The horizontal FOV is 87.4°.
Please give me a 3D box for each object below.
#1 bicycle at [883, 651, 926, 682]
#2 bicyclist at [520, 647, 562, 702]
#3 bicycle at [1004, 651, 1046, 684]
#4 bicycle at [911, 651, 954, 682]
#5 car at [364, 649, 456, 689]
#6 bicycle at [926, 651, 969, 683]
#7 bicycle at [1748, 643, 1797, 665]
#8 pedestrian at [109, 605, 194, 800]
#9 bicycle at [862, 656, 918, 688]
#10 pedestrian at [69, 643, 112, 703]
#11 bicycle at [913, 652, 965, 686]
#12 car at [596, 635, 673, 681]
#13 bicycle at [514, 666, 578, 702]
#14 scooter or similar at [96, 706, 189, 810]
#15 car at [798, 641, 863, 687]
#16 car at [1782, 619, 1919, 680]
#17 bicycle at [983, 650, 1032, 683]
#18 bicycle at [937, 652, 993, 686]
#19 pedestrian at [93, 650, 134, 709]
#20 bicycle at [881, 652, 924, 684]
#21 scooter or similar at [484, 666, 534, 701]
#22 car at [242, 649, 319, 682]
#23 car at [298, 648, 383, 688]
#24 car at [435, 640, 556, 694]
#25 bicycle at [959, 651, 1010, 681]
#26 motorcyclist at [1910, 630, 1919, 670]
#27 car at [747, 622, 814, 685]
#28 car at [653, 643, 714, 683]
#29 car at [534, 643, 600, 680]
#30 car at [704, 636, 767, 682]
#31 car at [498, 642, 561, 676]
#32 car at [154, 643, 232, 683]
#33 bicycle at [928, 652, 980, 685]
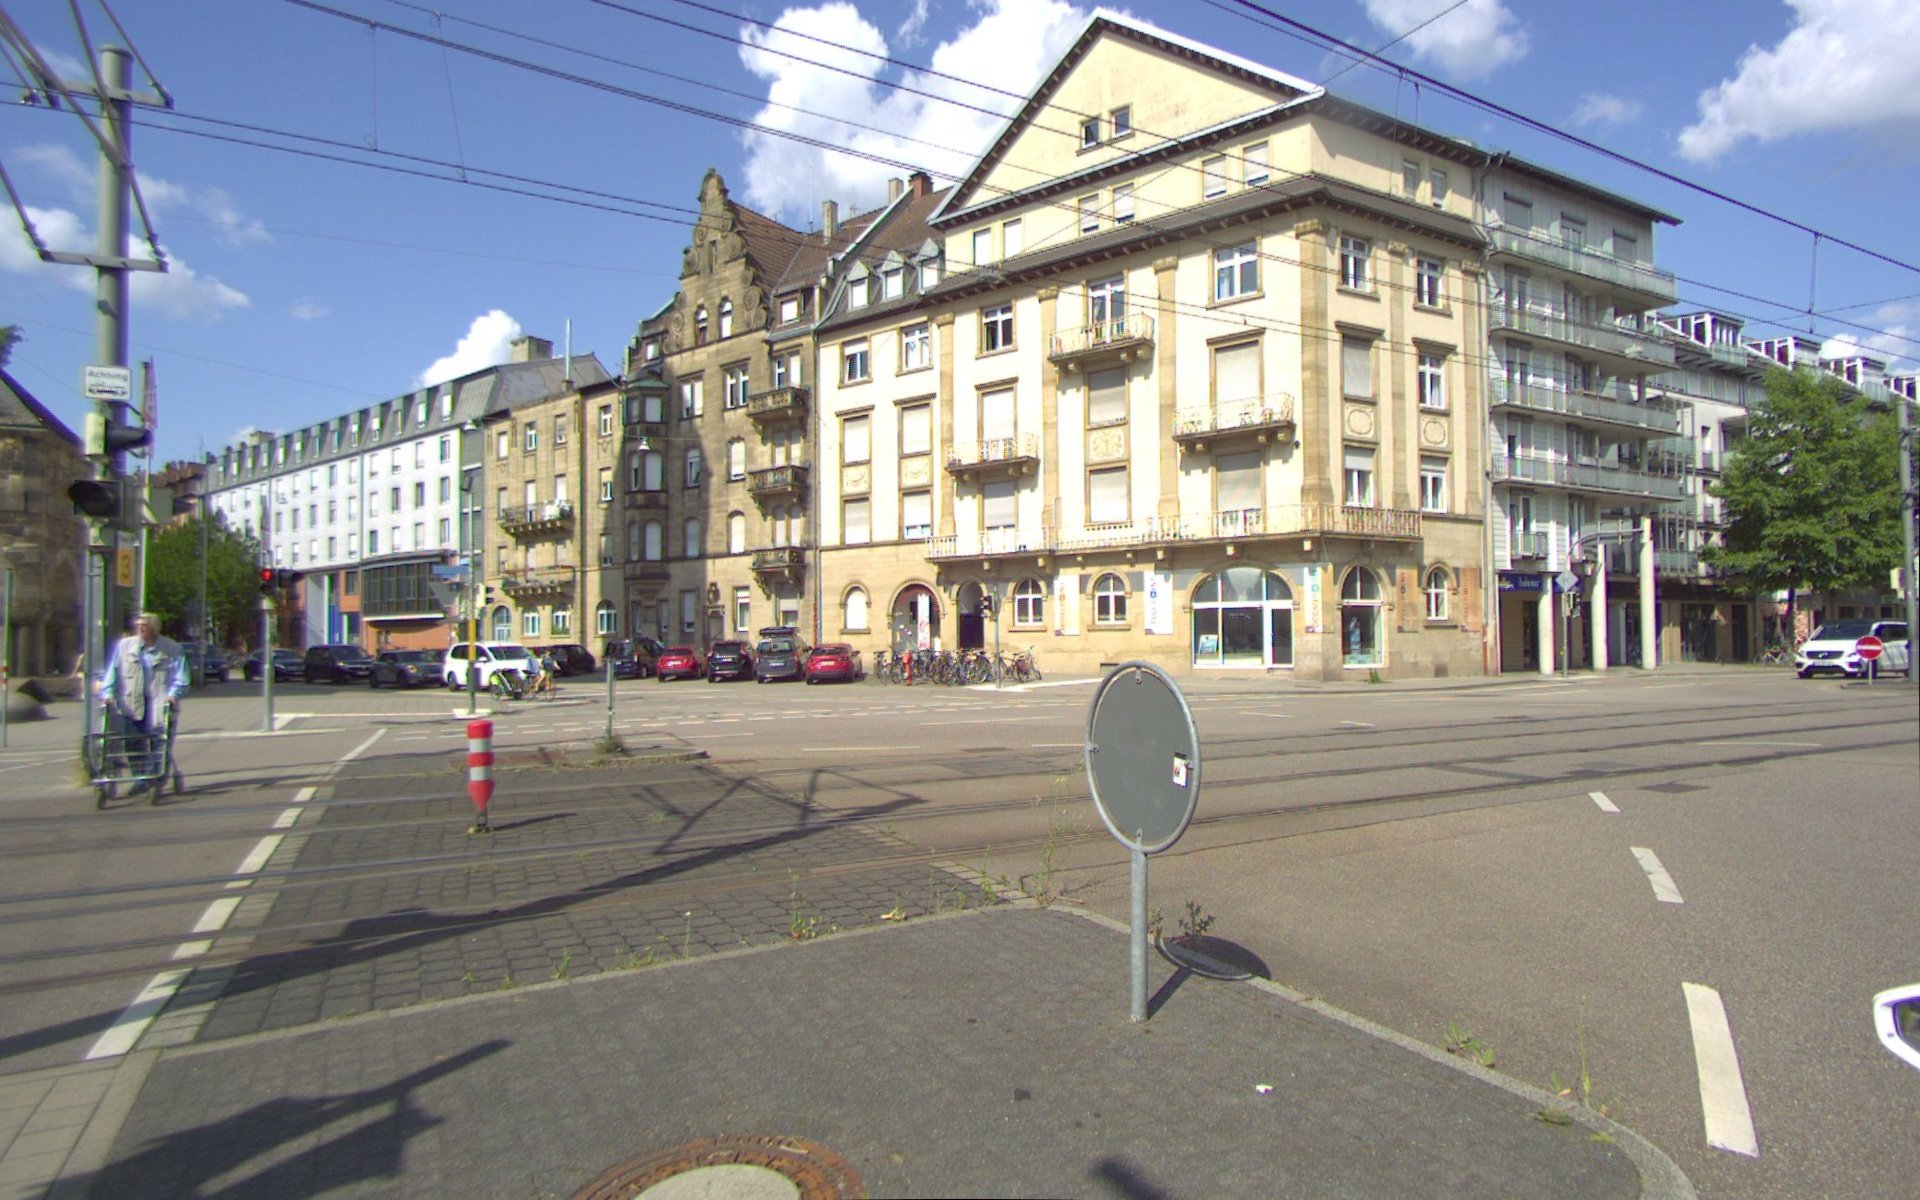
[{"bbox_3d":[-2.078,2.478,37.794,0.531,1.032,1.922,-2,0,35],"label":"bicycle"},{"bbox_3d":[-12.328,2.184,29.577,0.906,1.524,0.650,-2,3,33],"label":"bicyclist"},{"bbox_3d":[2.270,2.322,34.760,0.599,1.032,1.872,-2,0,33],"label":"bicycle"},{"bbox_3d":[-0.996,2.455,37.371,0.531,1.032,1.922,-2,0,35],"label":"bicycle"},{"bbox_3d":[-21.104,2.618,38.498,3.675,1.469,1.669,-2,-3,36],"label":"car"},{"bbox_3d":[-0.432,2.457,36.989,0.531,1.032,1.922,-2,0,35],"label":"bicycle"},{"bbox_3d":[37.687,2.495,46.601,0.492,0.999,1.681,1,-2,-31],"label":"bicycle"},{"bbox_3d":[-7.594,0.942,9.457,0.551,1.755,0.523,1,-3,-34],"label":"pedestrian"},{"bbox_3d":[-2.450,2.515,35.111,1.891,1.032,0.540,-2,0,20],"label":"bicycle"},{"bbox_3d":[-22.017,1.841,25.434,0.507,1.425,0.559,5,1,15],"label":"pedestrian"},{"bbox_3d":[-0.720,2.438,35.658,1.913,1.032,0.534,-2,0,-41],"label":"bicycle"},{"bbox_3d":[-14.958,2.647,46.323,1.878,1.849,4.002,-2,0,6],"label":"car"},{"bbox_3d":[-12.164,2.456,29.485,2.098,1.002,0.651,-2,-3,32],"label":"bicycle"},{"bbox_3d":[-7.366,1.404,9.082,0.548,0.814,0.833,1,-2,-33],"label":"scooter or similar"},{"bbox_3d":[-4.904,2.414,38.600,1.929,1.460,4.000,-2,0,0],"label":"car"},{"bbox_3d":[29.704,1.601,33.348,5.108,1.916,1.985,1,-2,-29],"label":"car"},{"bbox_3d":[1.691,2.323,35.281,0.602,1.032,1.865,-2,0,45],"label":"bicycle"},{"bbox_3d":[0.184,2.378,34.701,1.853,1.032,0.598,-2,0,-28],"label":"bicycle"},{"bbox_3d":[-21.894,2.050,25.991,0.507,1.425,0.559,5,1,15],"label":"pedestrian"},{"bbox_3d":[-2.100,2.473,36.708,0.531,1.032,1.924,-2,0,31],"label":"bicycle"},{"bbox_3d":[-13.611,2.510,30.309,1.111,0.990,0.888,-2,-3,32],"label":"scooter or similar"},{"bbox_3d":[-31.359,3.001,46.329,3.799,1.409,1.698,-2,-3,36],"label":"car"},{"bbox_3d":[-26.555,2.880,43.007,4.006,1.617,1.698,-2,-3,36],"label":"car"},{"bbox_3d":[-16.194,2.288,34.975,4.588,1.763,1.809,-2,-3,36],"label":"car"},{"bbox_3d":[0.881,2.390,36.663,1.900,1.032,0.537,-2,0,40],"label":"bicycle"},{"bbox_3d":[35.225,1.804,36.354,1.074,1.422,0.890,1,-2,-28],"label":"motorcyclist"},{"bbox_3d":[-7.208,2.113,40.676,1.929,2.111,3.999,-2,2,0],"label":"car"},{"bbox_3d":[-12.132,2.724,44.303,1.880,1.463,3.997,-2,0,-5],"label":"car"},{"bbox_3d":[-19.380,3.006,49.733,1.677,1.566,4.000,-2,0,0],"label":"car"},{"bbox_3d":[-9.364,2.432,42.171,1.677,1.690,4.000,-2,0,0],"label":"car"},{"bbox_3d":[-21.972,2.974,51.409,1.574,1.475,3.776,-2,0,0],"label":"car"},{"bbox_3d":[-35.233,2.843,46.122,4.008,1.686,1.808,-1,-1,37],"label":"car"},{"bbox_3d":[-0.194,2.412,35.384,1.913,1.032,0.534,-1,0,-41],"label":"bicycle"}]
